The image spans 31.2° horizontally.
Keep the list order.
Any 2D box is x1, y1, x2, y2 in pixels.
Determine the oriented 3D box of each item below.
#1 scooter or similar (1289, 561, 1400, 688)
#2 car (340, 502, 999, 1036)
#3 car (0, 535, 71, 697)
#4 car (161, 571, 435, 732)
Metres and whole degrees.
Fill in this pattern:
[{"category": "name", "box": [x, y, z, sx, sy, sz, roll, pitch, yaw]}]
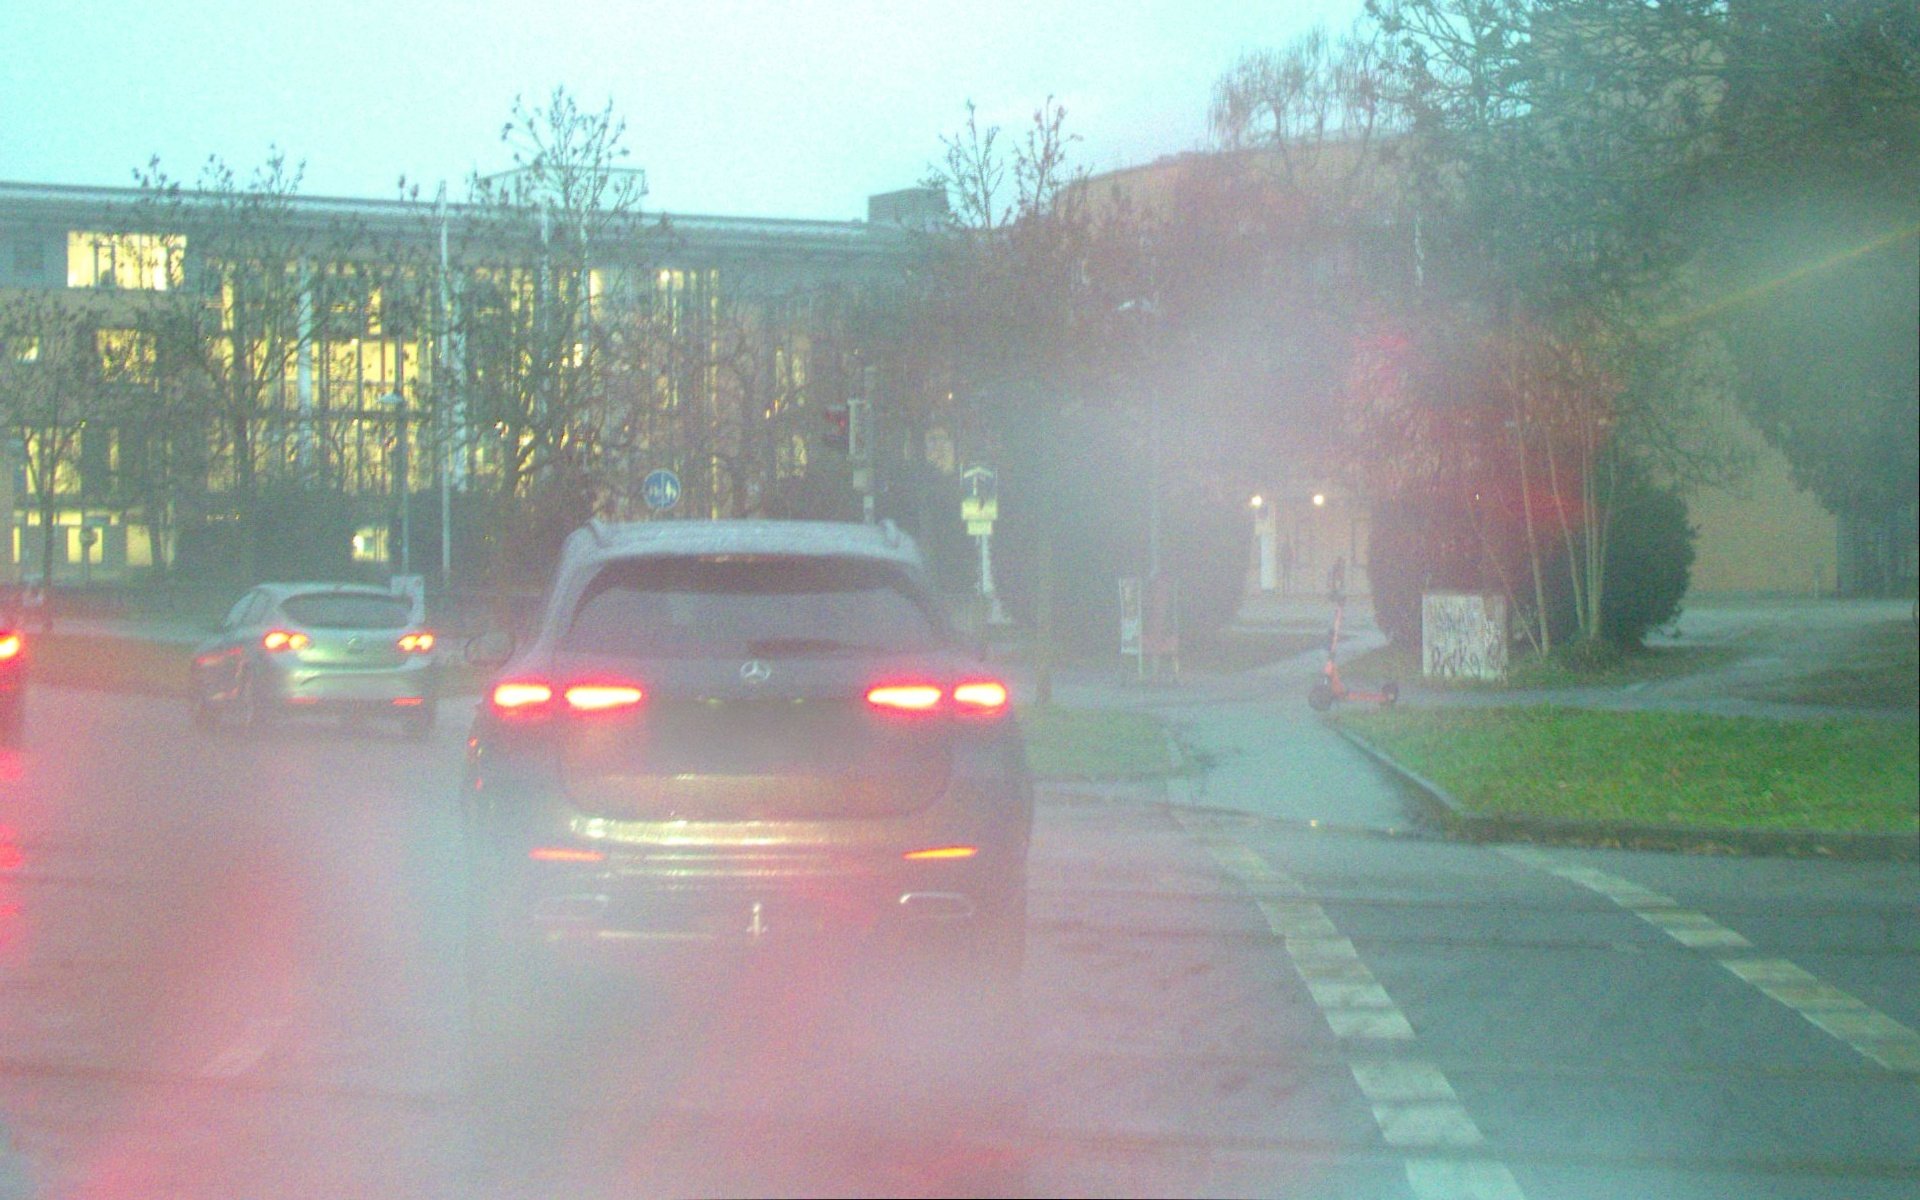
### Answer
[{"category": "scooter or similar", "box": [3.822, 0.235, 34.148, 1.142, 1.227, 0.487, -1, 2, -45]}, {"category": "car", "box": [-0.997, 0.464, 12.484, 1.990, 1.610, 4.001, 0, 1, -3]}, {"category": "car", "box": [-9.356, 0.110, 31.680, 1.993, 1.393, 4.001, -1, 1, -18]}, {"category": "car", "box": [-6.568, 0.456, 33.792, 1.993, 1.403, 4.001, -1, 1, -20]}]
